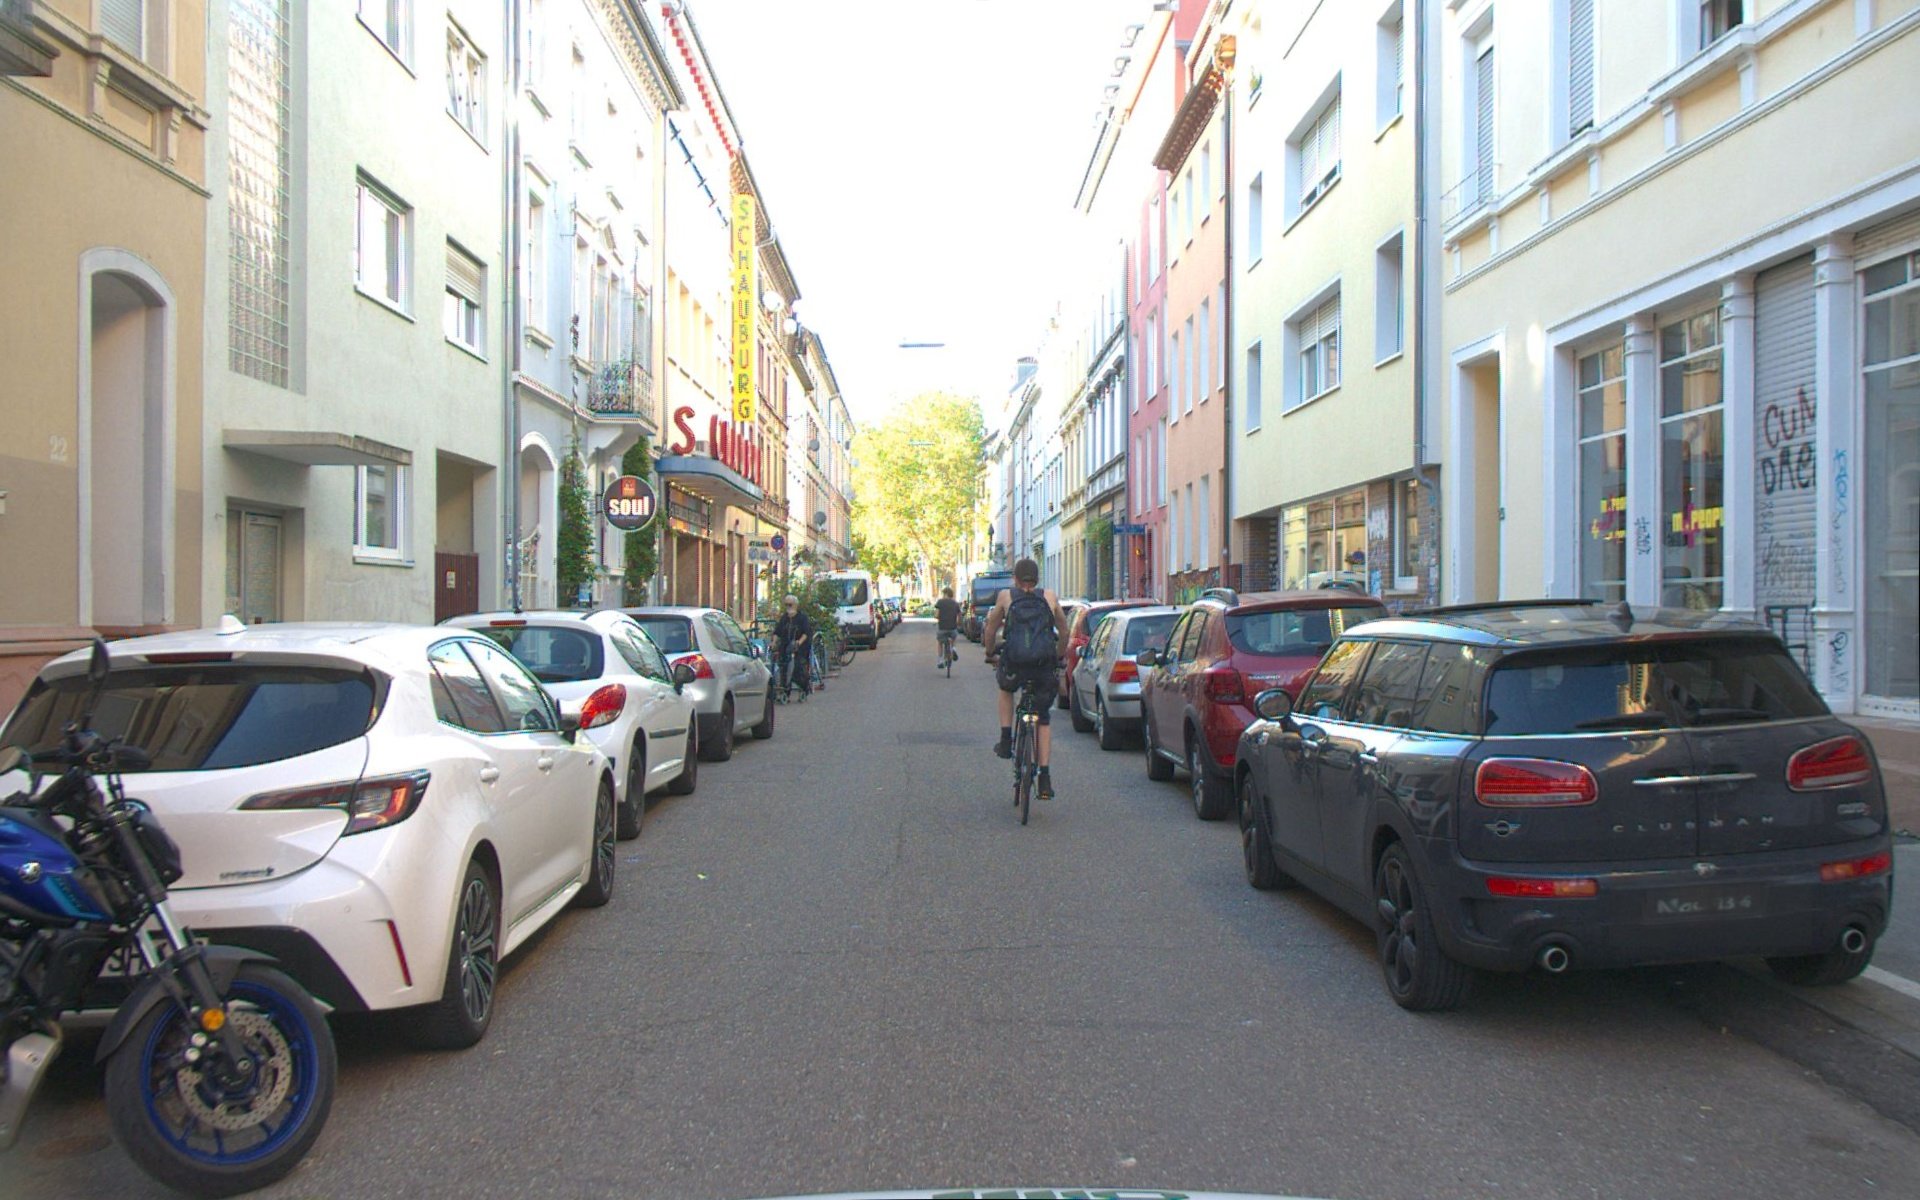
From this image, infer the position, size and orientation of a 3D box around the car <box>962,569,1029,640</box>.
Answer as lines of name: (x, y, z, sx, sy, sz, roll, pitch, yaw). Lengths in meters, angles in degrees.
car: (1.345, 0.180, 65.646, 2.261, 2.582, 6.767, -2, 0, -1)

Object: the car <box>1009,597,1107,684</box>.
car: (1.913, 0.774, 33.172, 1.588, 1.577, 3.999, -2, 0, -1)

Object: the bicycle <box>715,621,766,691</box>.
bicycle: (-3.827, 0.955, 28.972, 0.743, 1.154, 2.272, 1, -1, -5)

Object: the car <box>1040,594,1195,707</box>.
car: (2.152, 0.669, 23.551, 1.676, 1.407, 3.999, -2, 0, -1)

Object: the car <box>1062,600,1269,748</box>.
car: (2.162, 0.752, 18.445, 1.676, 1.407, 3.999, -2, 0, -1)

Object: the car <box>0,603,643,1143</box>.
car: (-2.445, 0.792, 6.737, 1.638, 1.467, 4.163, -2, 0, -3)

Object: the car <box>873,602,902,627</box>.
car: (-4.468, 0.896, 102.627, 1.638, 1.467, 4.164, -2, 0, -1)

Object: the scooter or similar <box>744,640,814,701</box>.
scooter or similar: (-2.758, 1.069, 25.201, 0.762, 0.888, 0.763, 2, -1, -37)

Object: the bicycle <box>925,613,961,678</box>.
bicycle: (-0.359, 0.912, 33.923, 0.688, 1.229, 2.341, 0, 1, -2)

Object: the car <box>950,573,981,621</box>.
car: (0.437, -0.200, 138.463, 2.261, 3.833, 6.767, -2, 0, -1)

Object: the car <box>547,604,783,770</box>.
car: (-2.917, 0.813, 17.098, 1.637, 1.467, 3.754, -2, 0, 1)

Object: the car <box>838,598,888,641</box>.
car: (-3.554, 0.707, 61.052, 1.638, 1.467, 4.164, -2, 0, -1)

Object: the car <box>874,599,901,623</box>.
car: (-4.794, 0.728, 109.846, 1.638, 1.467, 4.164, -2, 0, -1)

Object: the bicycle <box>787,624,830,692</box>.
bicycle: (-2.638, 0.992, 28.893, 0.686, 1.125, 2.272, 1, -1, -5)

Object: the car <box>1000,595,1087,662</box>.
car: (1.898, 0.651, 38.626, 1.676, 1.418, 3.999, -2, 0, -1)

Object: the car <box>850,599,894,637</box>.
car: (-3.626, 0.737, 68.552, 1.638, 1.467, 4.164, -2, 0, -1)

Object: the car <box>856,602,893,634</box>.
car: (-4.154, 0.895, 81.076, 1.638, 1.467, 4.164, -2, 0, -1)

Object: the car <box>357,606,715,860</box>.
car: (-2.847, 0.818, 11.907, 1.638, 1.467, 3.767, -2, 0, -1)

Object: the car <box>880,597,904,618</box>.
car: (-5.021, 0.582, 122.419, 1.638, 1.467, 4.164, -2, 0, -1)

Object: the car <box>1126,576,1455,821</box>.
car: (2.434, 0.680, 13.161, 1.676, 1.583, 3.999, -2, 0, -1)

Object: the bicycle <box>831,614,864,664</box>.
bicycle: (-2.783, 0.939, 40.791, 0.743, 1.184, 2.272, 1, -1, -5)

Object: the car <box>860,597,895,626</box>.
car: (-4.321, 0.609, 87.099, 1.638, 1.467, 4.164, -2, 0, -1)

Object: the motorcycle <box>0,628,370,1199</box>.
motorcycle: (-2.621, 0.825, 4.093, 2.115, 1.383, 0.537, -3, 1, -20)

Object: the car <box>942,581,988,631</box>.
car: (0.208, 0.331, 91.066, 2.261, 2.582, 6.767, -2, 0, -1)

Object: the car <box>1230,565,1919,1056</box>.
car: (2.504, 0.699, 7.451, 1.780, 1.548, 3.999, -2, 0, -1)

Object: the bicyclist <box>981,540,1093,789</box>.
bicyclist: (0.525, 0.439, 11.677, 0.688, 1.662, 1.090, 1, -1, -1)

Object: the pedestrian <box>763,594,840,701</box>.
pedestrian: (-2.438, 0.716, 25.442, 0.891, 1.606, 0.763, 2, -1, -37)

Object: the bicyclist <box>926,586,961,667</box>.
bicyclist: (-0.341, 0.526, 33.806, 0.688, 1.633, 0.812, 0, 1, -2)

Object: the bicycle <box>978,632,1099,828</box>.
bicycle: (0.520, 0.864, 11.859, 0.688, 1.229, 2.341, 1, -1, -1)

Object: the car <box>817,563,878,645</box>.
car: (-3.664, 0.124, 54.074, 1.871, 2.540, 4.162, -1, 0, -3)

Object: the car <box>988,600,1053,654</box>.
car: (1.788, 0.799, 49.941, 1.676, 1.472, 3.999, -2, 0, -1)
